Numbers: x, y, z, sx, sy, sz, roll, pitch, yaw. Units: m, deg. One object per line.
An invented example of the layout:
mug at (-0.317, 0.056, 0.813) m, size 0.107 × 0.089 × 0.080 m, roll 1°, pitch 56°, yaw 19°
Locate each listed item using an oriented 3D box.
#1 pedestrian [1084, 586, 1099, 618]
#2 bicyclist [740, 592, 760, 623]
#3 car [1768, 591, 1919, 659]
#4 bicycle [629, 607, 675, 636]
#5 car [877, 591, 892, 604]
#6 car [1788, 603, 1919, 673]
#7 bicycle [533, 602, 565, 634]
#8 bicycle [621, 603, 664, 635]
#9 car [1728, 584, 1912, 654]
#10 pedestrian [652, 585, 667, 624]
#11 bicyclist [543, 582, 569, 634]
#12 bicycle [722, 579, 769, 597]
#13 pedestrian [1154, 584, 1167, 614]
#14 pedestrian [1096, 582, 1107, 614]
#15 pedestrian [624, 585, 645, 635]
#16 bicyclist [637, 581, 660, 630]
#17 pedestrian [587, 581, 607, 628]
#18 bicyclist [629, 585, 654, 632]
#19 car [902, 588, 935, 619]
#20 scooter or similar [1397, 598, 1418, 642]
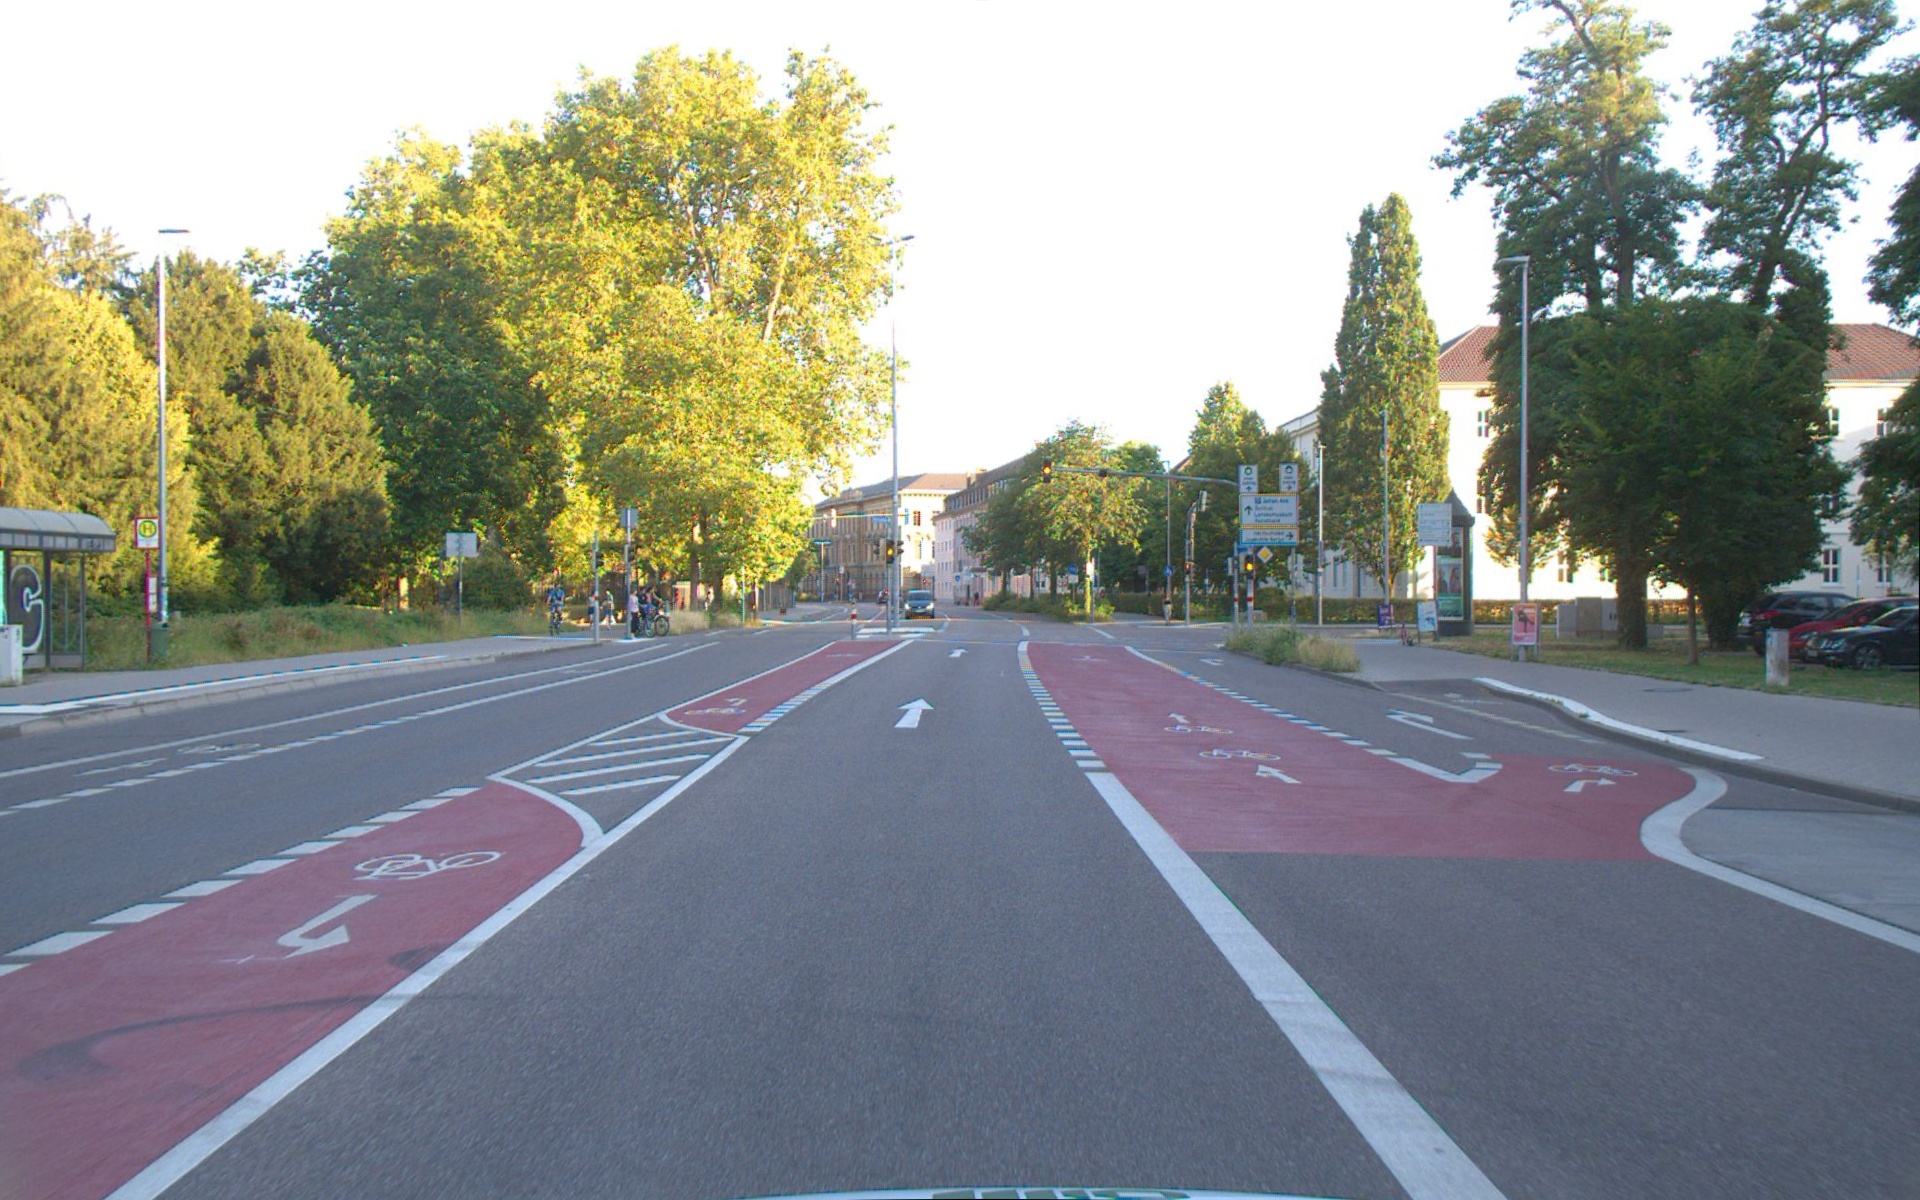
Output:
pedestrian at (8.489, 0.134, 106.829) m, size 0.852 × 2.049 × 0.722 m, roll 1°, pitch 0°, yaw 1°
bicyclist at (-11.119, 0.389, 87.404) m, size 0.938 × 1.659 × 0.753 m, roll 0°, pitch 0°, yaw 2°
car at (21.875, 0.591, 39.927) m, size 3.902 × 1.588 × 1.787 m, roll 0°, pitch 0°, yaw 8°
bicycle at (-11.280, 0.790, 60.607) m, size 1.734 × 1.048 × 0.578 m, roll 0°, pitch 0°, yaw 33°
car at (-9.183, -0.314, 199.937) m, size 1.783 × 1.616 × 3.998 m, roll -1°, pitch 0°, yaw -3°
car at (21.180, 0.814, 36.839) m, size 4.473 × 1.474 × 1.901 m, roll -2°, pitch -2°, yaw 4°
bicycle at (-14.690, 0.626, 59.213) m, size 0.755 × 1.120 × 2.121 m, roll 0°, pitch 0°, yaw -4°
bicycle at (-11.336, 0.685, 59.047) m, size 1.535 × 1.131 × 0.631 m, roll 0°, pitch 0°, yaw 33°
car at (22.254, 0.475, 42.935) m, size 3.815 × 1.724 × 1.838 m, roll 1°, pitch 0°, yaw 6°
pedestrian at (-15.772, 0.238, 86.748) m, size 0.626 × 2.049 × 0.701 m, roll 0°, pitch 0°, yaw 3°
bicyclist at (-14.405, 0.278, 59.047) m, size 0.720 × 1.856 × 0.712 m, roll -1°, pitch 0°, yaw -1°
bicycle at (-11.348, -0.639, 87.434) m, size 2.379 × 0.940 × 0.775 m, roll 0°, pitch 0°, yaw 2°
pedestrian at (11.191, -0.046, 92.310) m, size 0.587 × 1.664 × 0.691 m, roll 1°, pitch 1°, yaw 0°
pedestrian at (9.170, -0.132, 107.347) m, size 0.622 × 2.049 × 0.720 m, roll 1°, pitch 0°, yaw -2°
pedestrian at (-11.207, 0.334, 56.922) m, size 0.594 × 1.725 × 0.498 m, roll 0°, pitch 0°, yaw 3°
bicyclist at (-11.423, 0.194, 60.707) m, size 0.626 × 1.811 × 0.574 m, roll 0°, pitch 0°, yaw 32°
pedestrian at (-15.929, 0.217, 72.591) m, size 0.644 × 2.049 × 0.598 m, roll 1°, pitch 0°, yaw -37°
bicyclist at (-11.383, 0.297, 59.079) m, size 0.626 × 1.678 × 0.629 m, roll 0°, pitch 0°, yaw 32°
car at (-2.429, 0.191, 98.243) m, size 1.811 × 1.750 × 4.296 m, roll 0°, pitch 0°, yaw 0°
scooter or similar at (13.154, 0.581, 48.638) m, size 0.304 × 1.252 × 1.311 m, roll 0°, pitch 0°, yaw 2°
